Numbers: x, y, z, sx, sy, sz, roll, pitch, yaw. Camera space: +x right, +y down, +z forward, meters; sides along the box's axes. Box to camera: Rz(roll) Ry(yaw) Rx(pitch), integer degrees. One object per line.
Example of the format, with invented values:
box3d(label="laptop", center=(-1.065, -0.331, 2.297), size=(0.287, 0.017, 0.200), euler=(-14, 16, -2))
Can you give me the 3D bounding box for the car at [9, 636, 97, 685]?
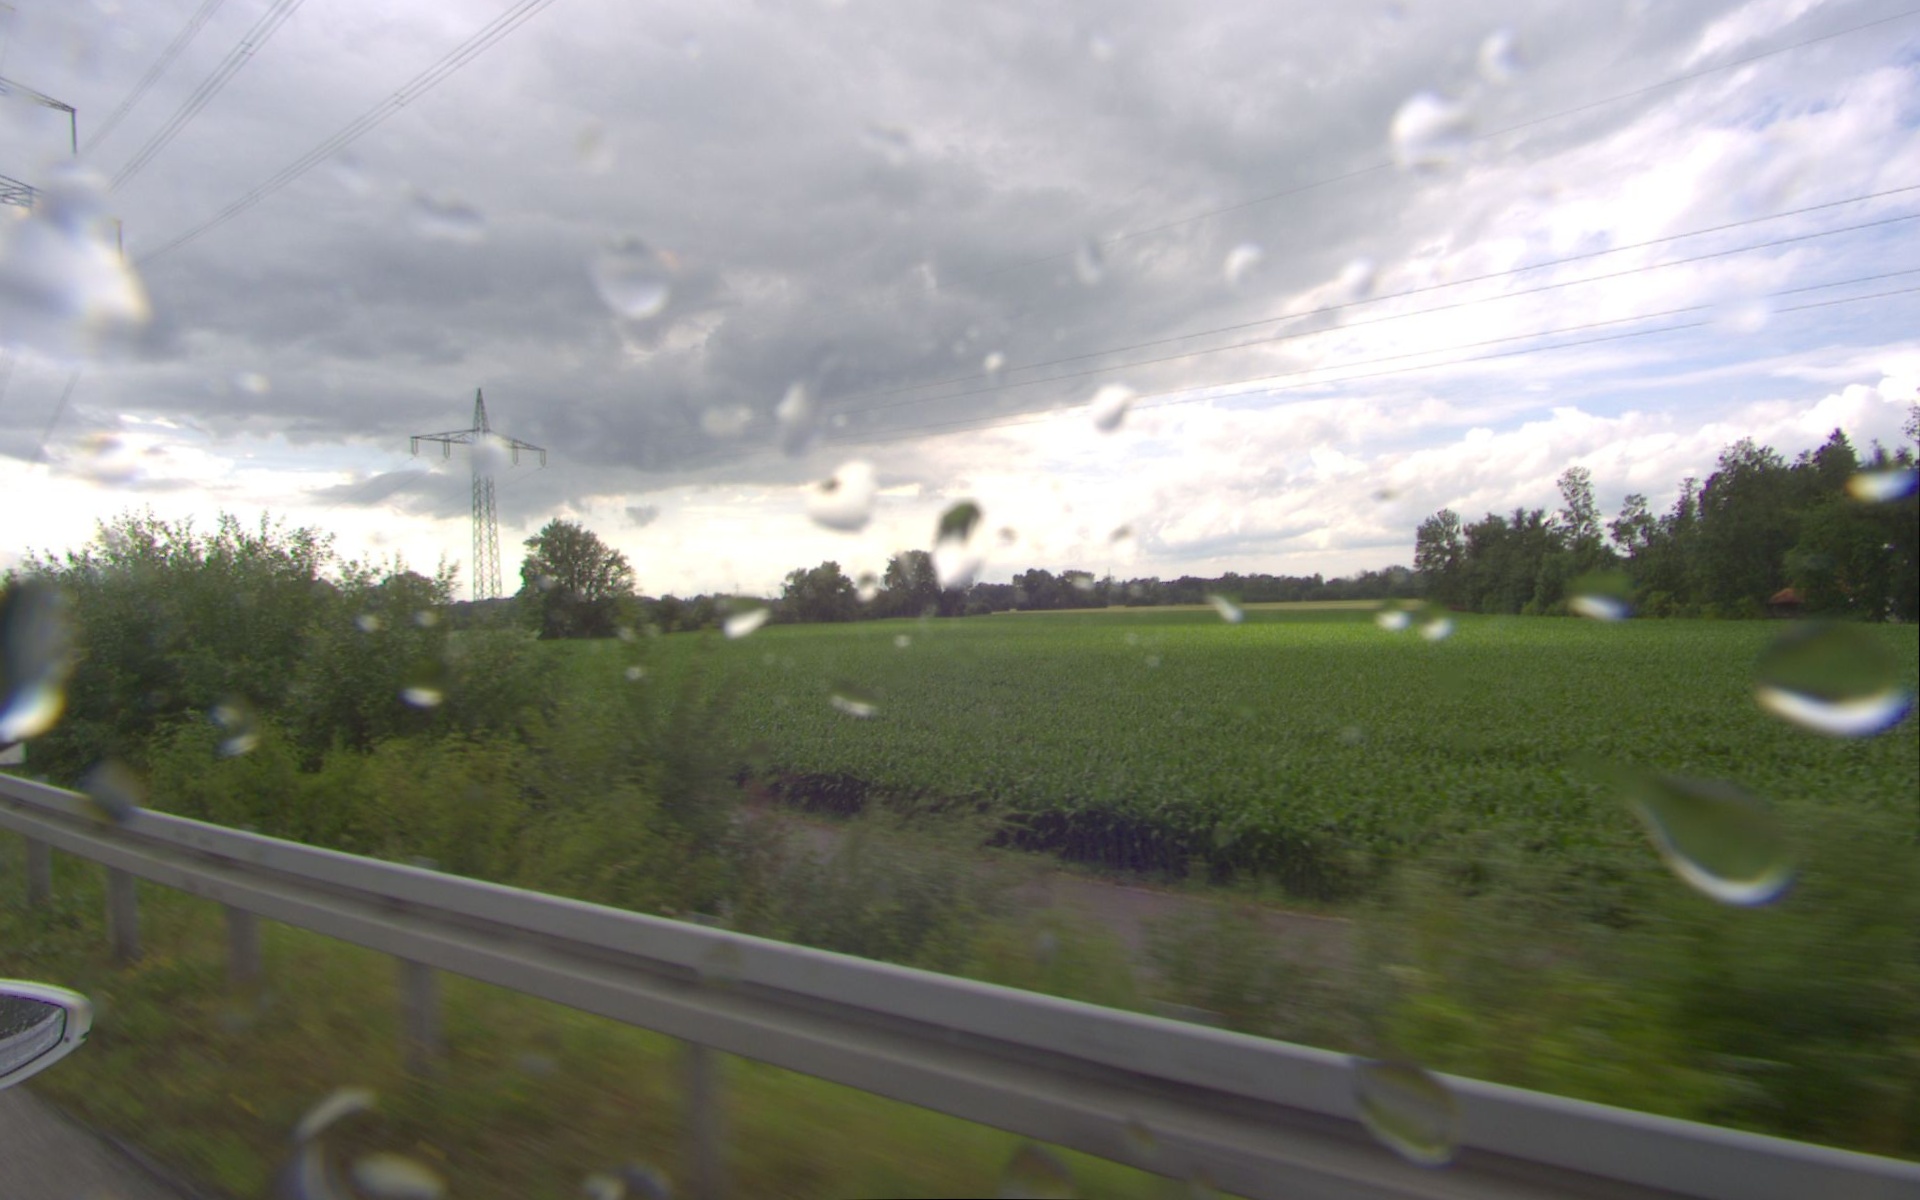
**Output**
box3d(label="car", center=(-41.272, 2.693, 45.710), size=(2.099, 2.044, 5.501), euler=(-2, -1, -34))
